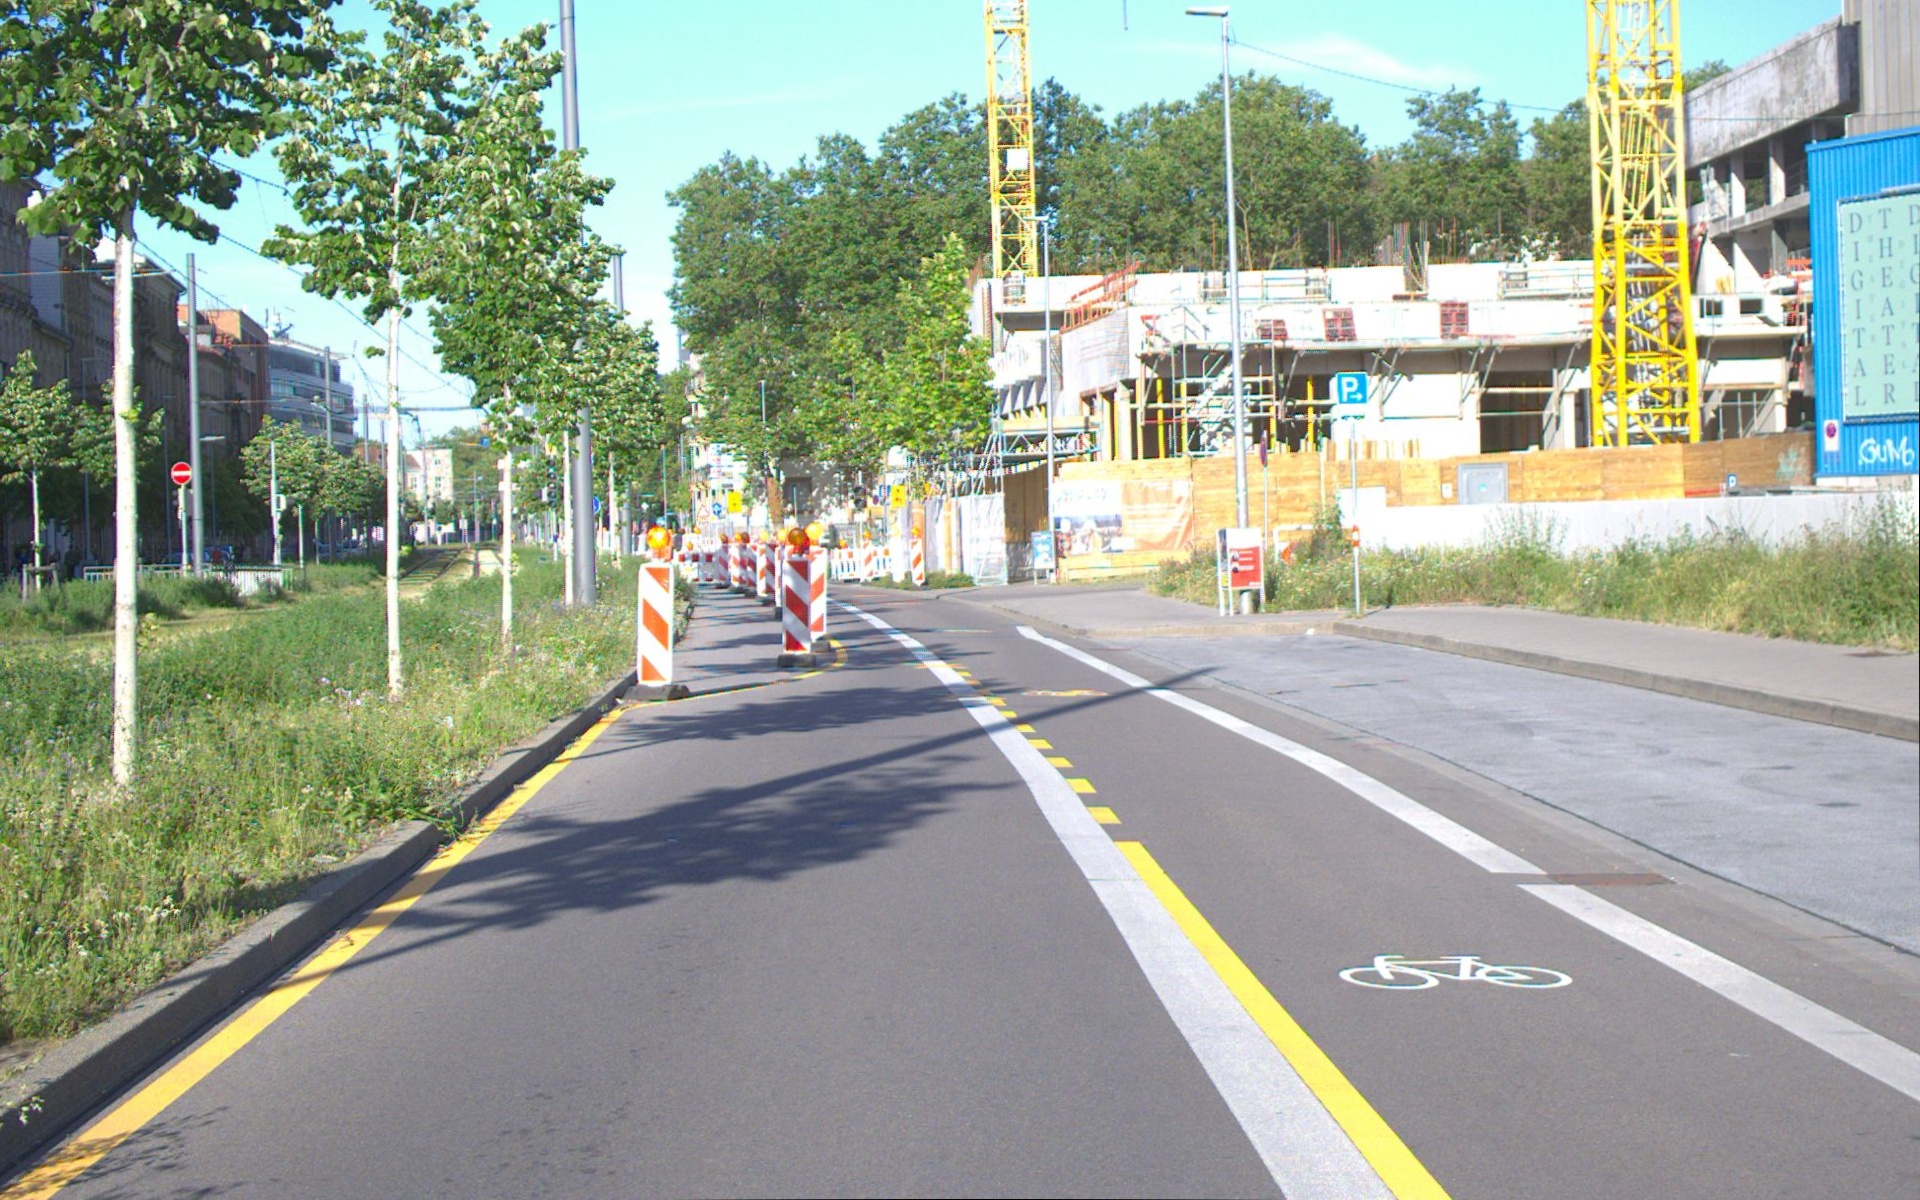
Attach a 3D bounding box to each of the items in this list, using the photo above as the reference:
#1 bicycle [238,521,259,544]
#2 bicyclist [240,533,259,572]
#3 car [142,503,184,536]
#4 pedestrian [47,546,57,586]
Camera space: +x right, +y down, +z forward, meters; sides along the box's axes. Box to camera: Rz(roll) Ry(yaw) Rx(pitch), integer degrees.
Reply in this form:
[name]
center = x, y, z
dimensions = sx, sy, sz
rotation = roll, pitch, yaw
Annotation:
[bicycle]
center = -30.656, -2.917, 148.109
dimensions = 0.695, 0.974, 1.827
rotation = -1, 1, -7
[bicyclist]
center = -30.686, -2.048, 148.579
dimensions = 0.695, 1.652, 0.882
rotation = -1, 1, -7
[car]
center = -38.997, -3.954, 168.352
dimensions = 1.566, 1.557, 4.716
rotation = -2, 2, -8
[pedestrian]
center = -40.092, -1.504, 151.850
dimensions = 0.366, 1.758, 0.406
rotation = 1, 1, -8
